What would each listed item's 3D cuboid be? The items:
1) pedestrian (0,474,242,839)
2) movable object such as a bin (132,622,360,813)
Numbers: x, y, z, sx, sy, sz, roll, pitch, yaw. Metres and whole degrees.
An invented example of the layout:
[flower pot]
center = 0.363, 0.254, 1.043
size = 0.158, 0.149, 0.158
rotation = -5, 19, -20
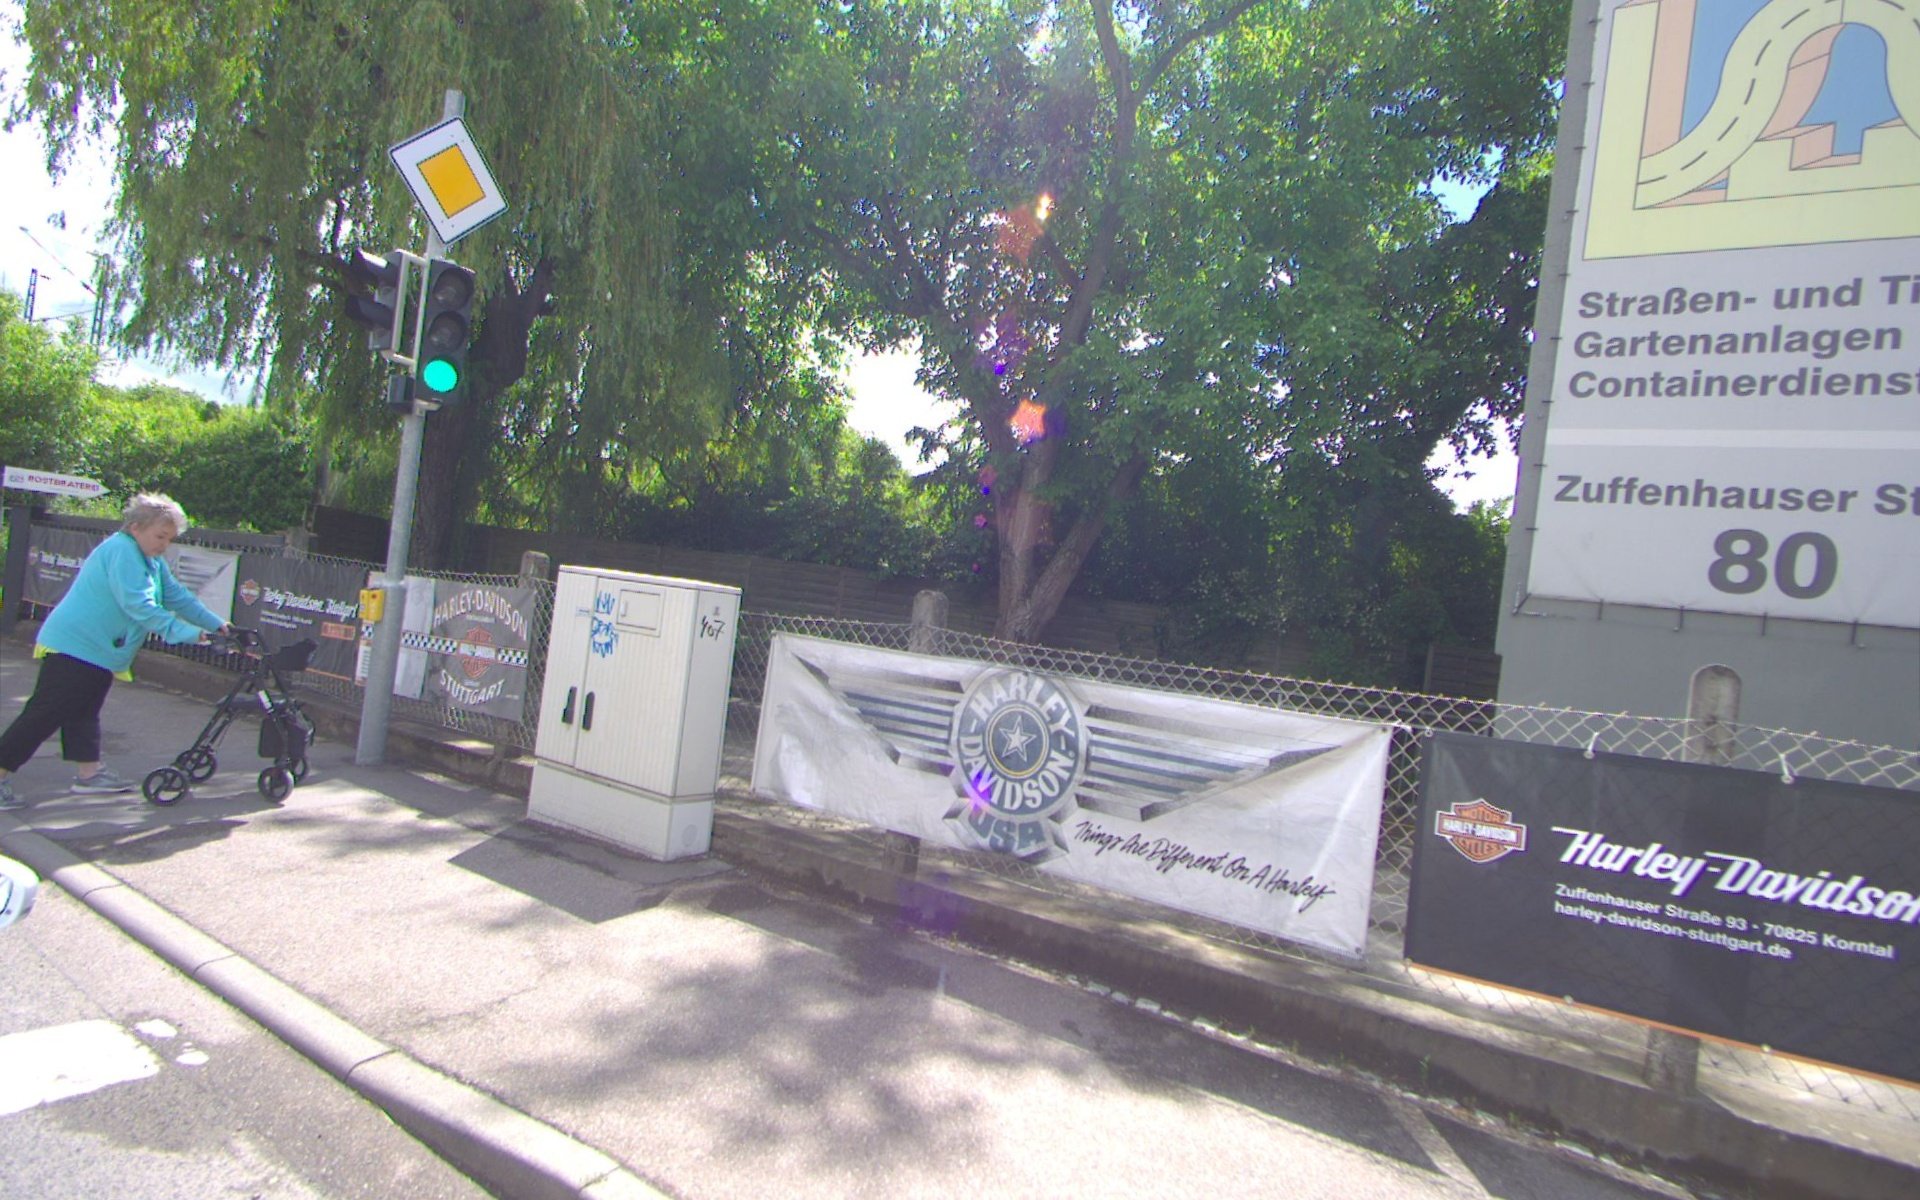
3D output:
[pedestrian]
center = -4.150, 0.233, 4.853
size = 0.722, 1.564, 0.839
rotation = 6, 2, 31
[movable object such as a bin]
center = -3.831, 0.604, 5.422
size = 0.659, 0.882, 0.747
rotation = 6, 0, 31
